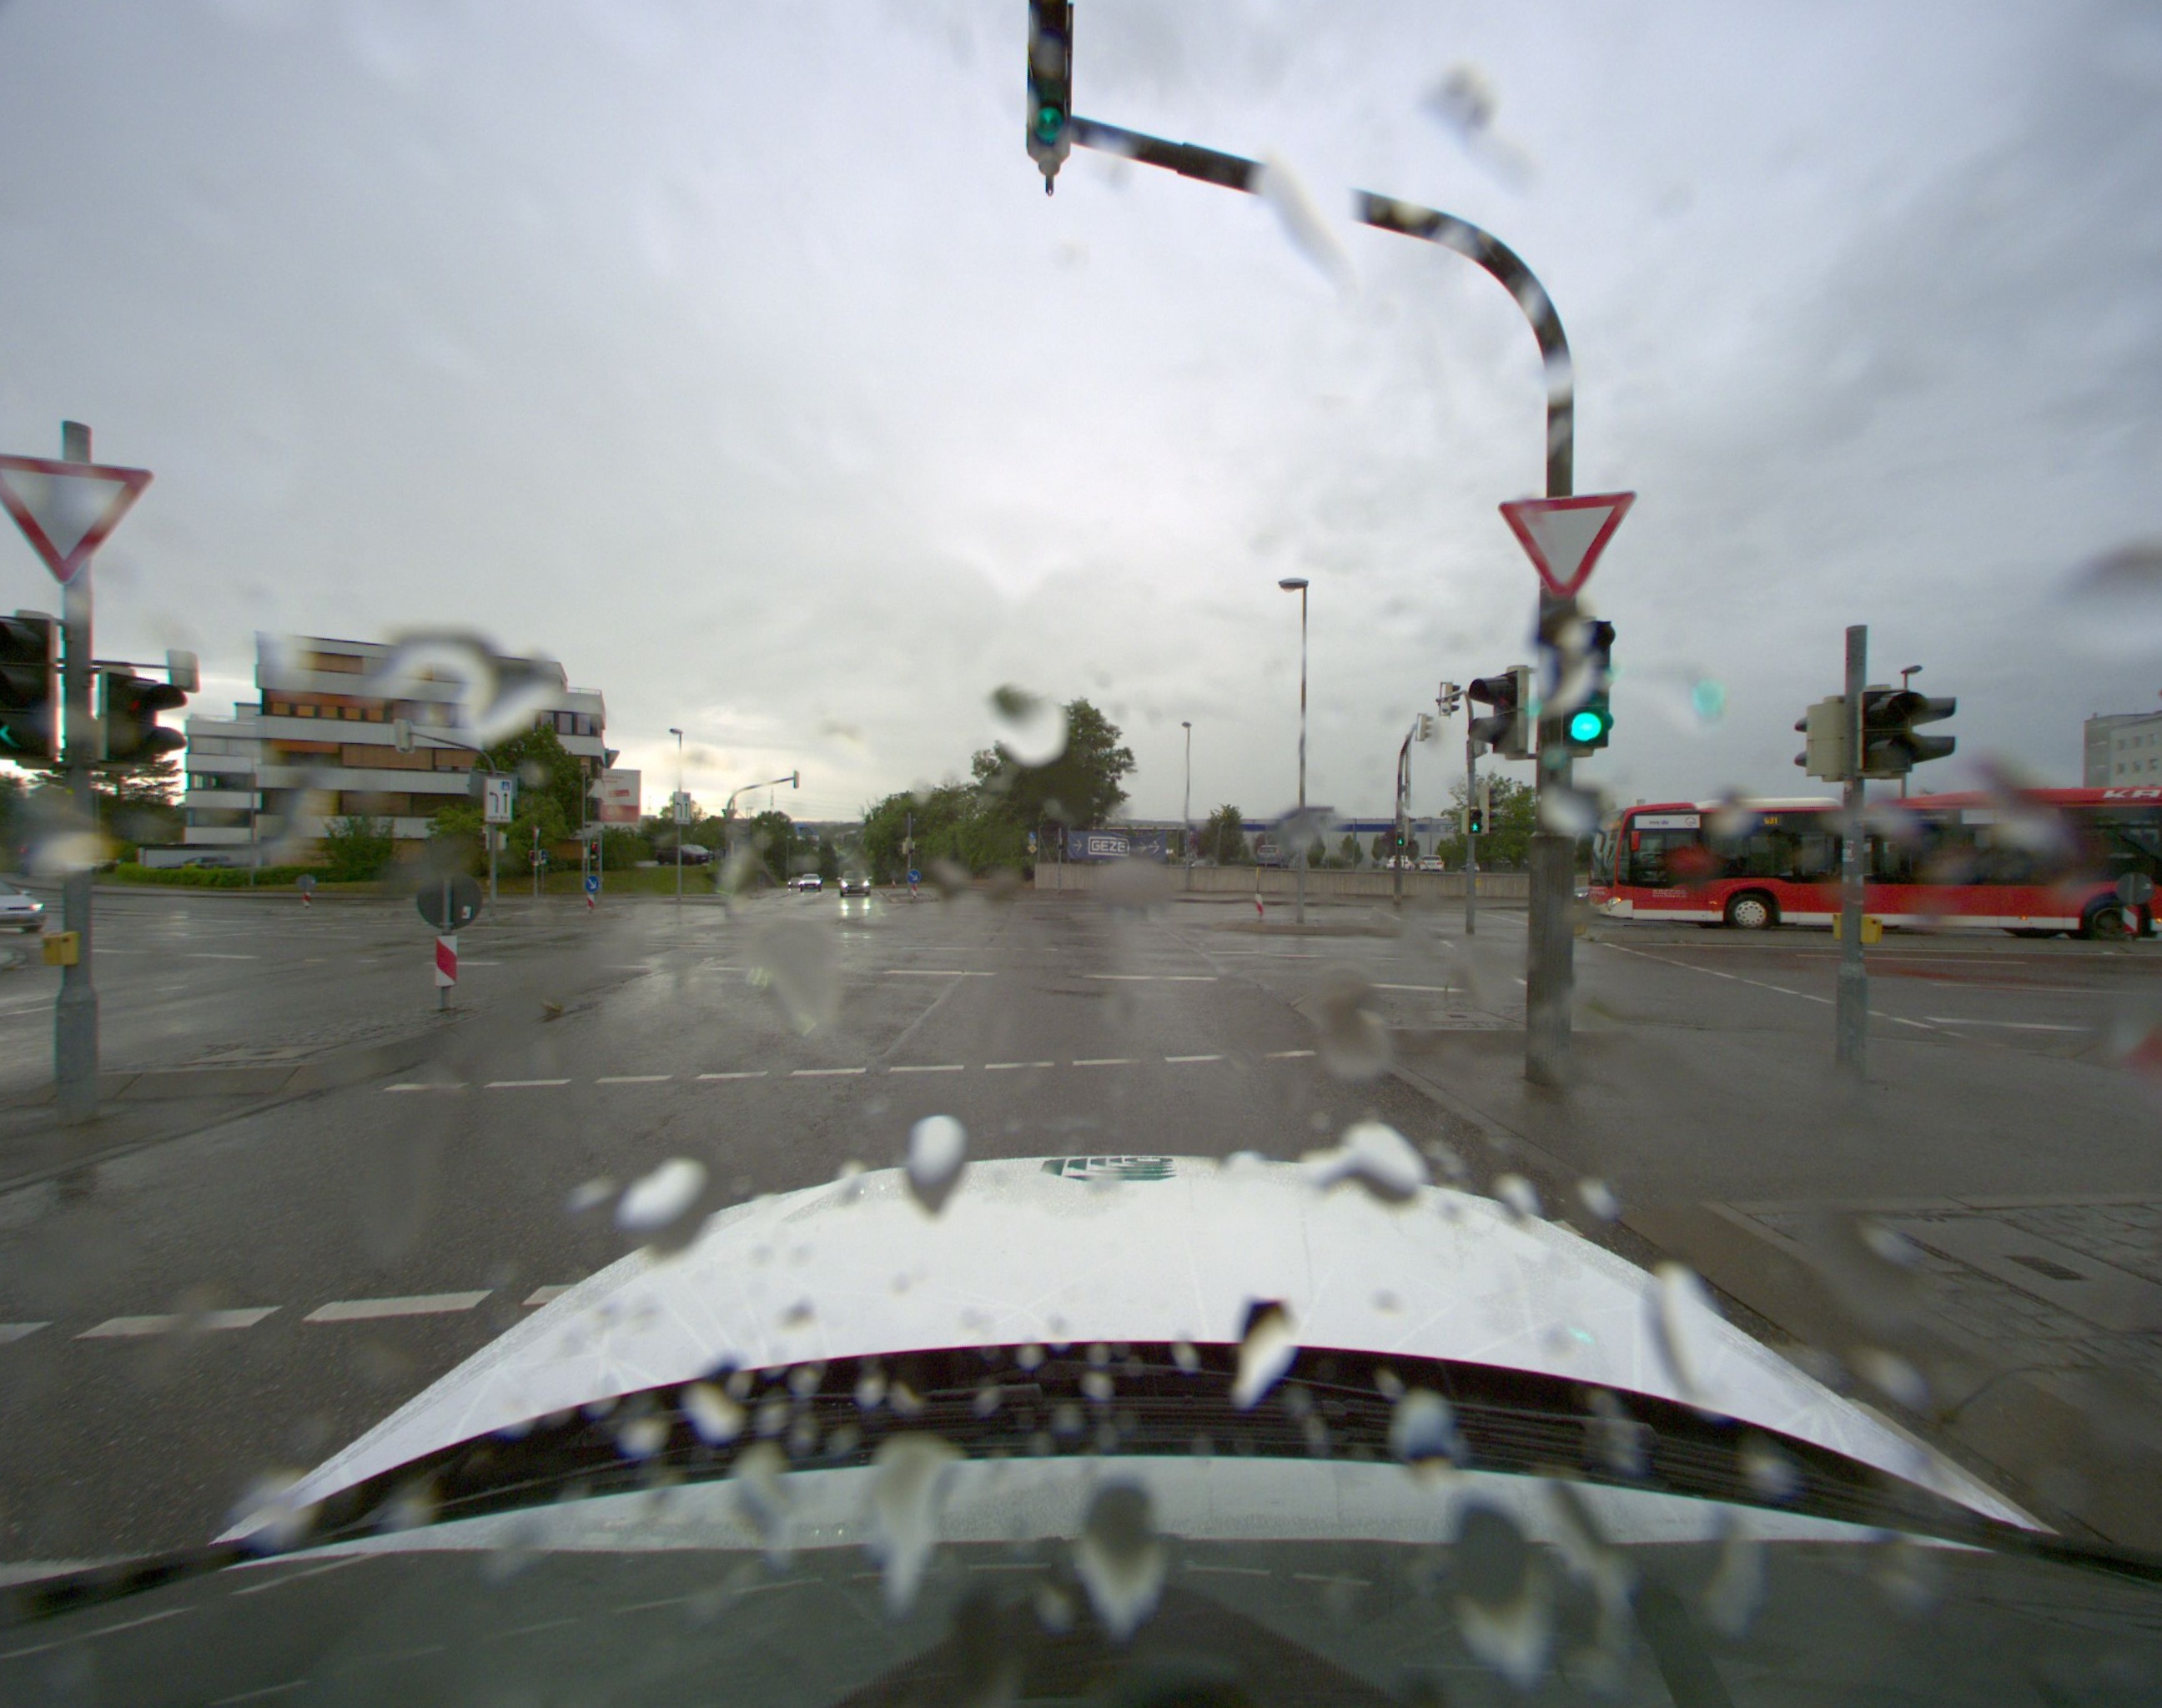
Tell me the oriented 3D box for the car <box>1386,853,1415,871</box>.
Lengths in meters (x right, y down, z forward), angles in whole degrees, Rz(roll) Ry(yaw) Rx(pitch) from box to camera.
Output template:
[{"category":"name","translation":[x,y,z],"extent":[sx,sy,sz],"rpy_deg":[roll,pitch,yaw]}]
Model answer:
[{"category":"car","translation":[26.359,0.645,67.100],"extent":[1.800,1.434,4.128],"rpy_deg":[-1,-1,28]}]

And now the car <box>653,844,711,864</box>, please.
[{"category":"car","translation":[-33.543,0.047,68.485],"extent":[3.962,1.586,1.907],"rpy_deg":[0,-3,10]}]

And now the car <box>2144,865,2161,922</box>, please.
[{"category":"car","translation":[31.072,1.057,20.902],"extent":[4.344,1.538,1.834],"rpy_deg":[0,0,18]}]

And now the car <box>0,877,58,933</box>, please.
[{"category":"car","translation":[-28.868,1.298,20.993],"extent":[4.479,1.363,1.771],"rpy_deg":[-1,-1,20]}]

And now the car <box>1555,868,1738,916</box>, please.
[{"category":"car","translation":[17.457,1.140,25.376],"extent":[4.344,1.354,1.834],"rpy_deg":[0,0,18]}]

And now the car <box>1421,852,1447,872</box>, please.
[{"category":"car","translation":[28.788,0.665,66.414],"extent":[1.841,1.526,4.127],"rpy_deg":[-1,-1,25]}]

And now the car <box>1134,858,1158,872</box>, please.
[{"category":"car","translation":[7.613,1.307,95.084],"extent":[1.652,1.606,3.550],"rpy_deg":[-1,-1,23]}]

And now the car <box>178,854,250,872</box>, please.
[{"category":"car","translation":[-70.322,0.717,66.170],"extent":[3.779,1.399,1.977],"rpy_deg":[0,0,-40]}]

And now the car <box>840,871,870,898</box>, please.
[{"category":"car","translation":[-13.295,1.752,47.883],"extent":[1.664,1.495,3.978],"rpy_deg":[0,-1,-16]}]

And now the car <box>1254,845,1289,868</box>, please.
[{"category":"car","translation":[13.254,0.198,56.485],"extent":[1.727,1.553,3.550],"rpy_deg":[-1,-1,23]}]

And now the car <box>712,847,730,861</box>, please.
[{"category":"car","translation":[-42.710,0.003,96.588],"extent":[1.836,1.442,3.967],"rpy_deg":[2,-3,-25]}]

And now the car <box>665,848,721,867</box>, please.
[{"category":"car","translation":[-33.807,0.333,70.986],"extent":[3.958,1.586,1.909],"rpy_deg":[0,-3,14]}]

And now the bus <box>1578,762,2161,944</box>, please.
[{"category":"bus","translation":[18.602,-0.082,18.454],"extent":[12.152,3.576,3.001],"rpy_deg":[1,0,19]}]

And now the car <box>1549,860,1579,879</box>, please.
[{"category":"car","translation":[42.416,1.354,71.597],"extent":[1.905,1.589,3.811],"rpy_deg":[0,0,25]}]

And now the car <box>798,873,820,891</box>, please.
[{"category":"car","translation":[-24.460,2.504,73.316],"extent":[1.723,1.495,3.978],"rpy_deg":[0,-1,-16]}]

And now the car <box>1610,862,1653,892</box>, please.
[{"category":"car","translation":[38.181,1.571,56.555],"extent":[1.727,2.014,3.844],"rpy_deg":[-1,-1,23]}]

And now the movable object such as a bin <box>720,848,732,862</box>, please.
[{"category":"movable object such as a bin","translation":[-37.902,0.093,87.013],"extent":[1.089,1.437,1.434],"rpy_deg":[2,-3,-25]}]

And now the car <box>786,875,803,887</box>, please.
[{"category":"car","translation":[-38.188,3.593,108.543],"extent":[1.907,1.456,3.968],"rpy_deg":[0,0,-24]}]
